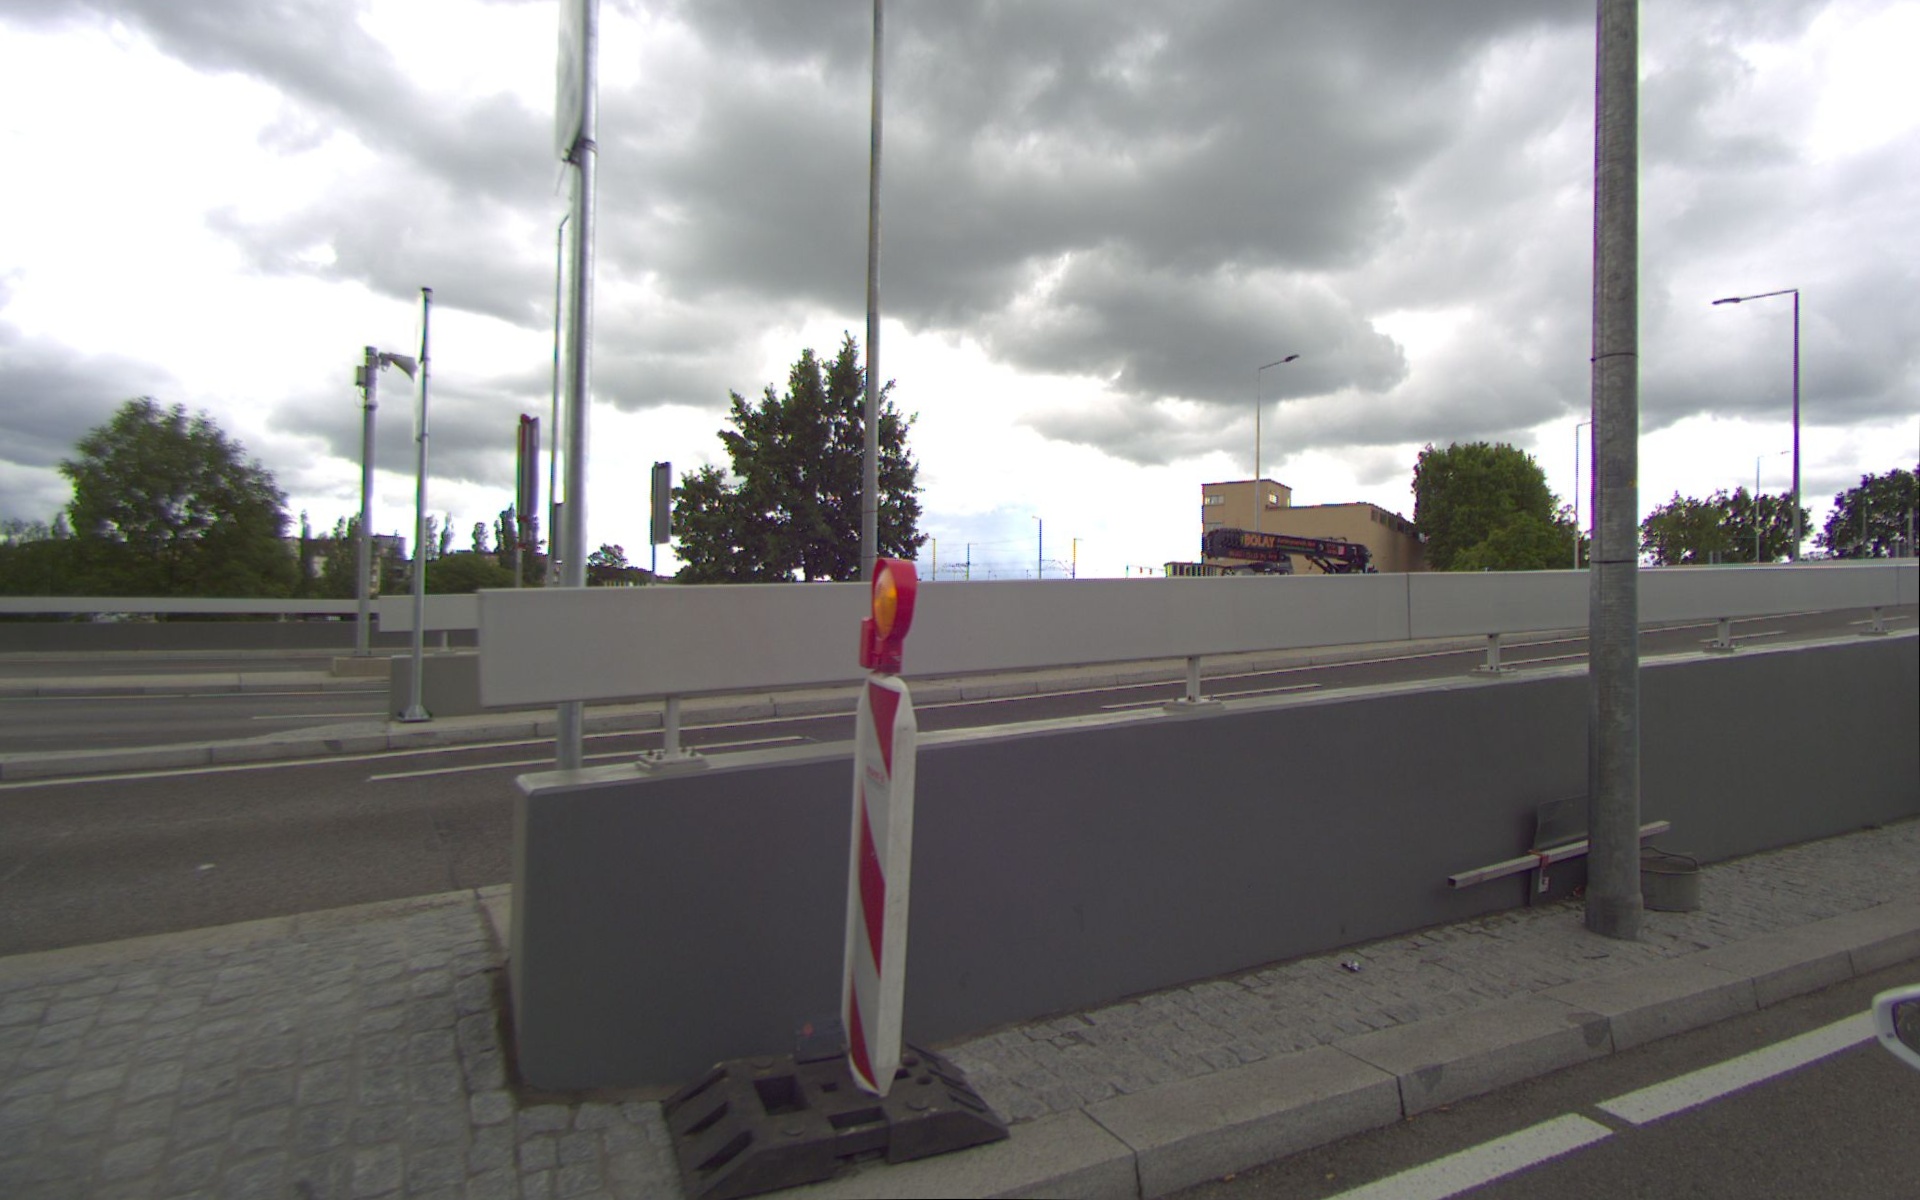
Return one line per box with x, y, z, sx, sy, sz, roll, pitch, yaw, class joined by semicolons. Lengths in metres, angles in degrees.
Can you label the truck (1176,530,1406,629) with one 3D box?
13.068;-0.871;39.010;10.510;3.436;2.715;-2;3;-35;truck
